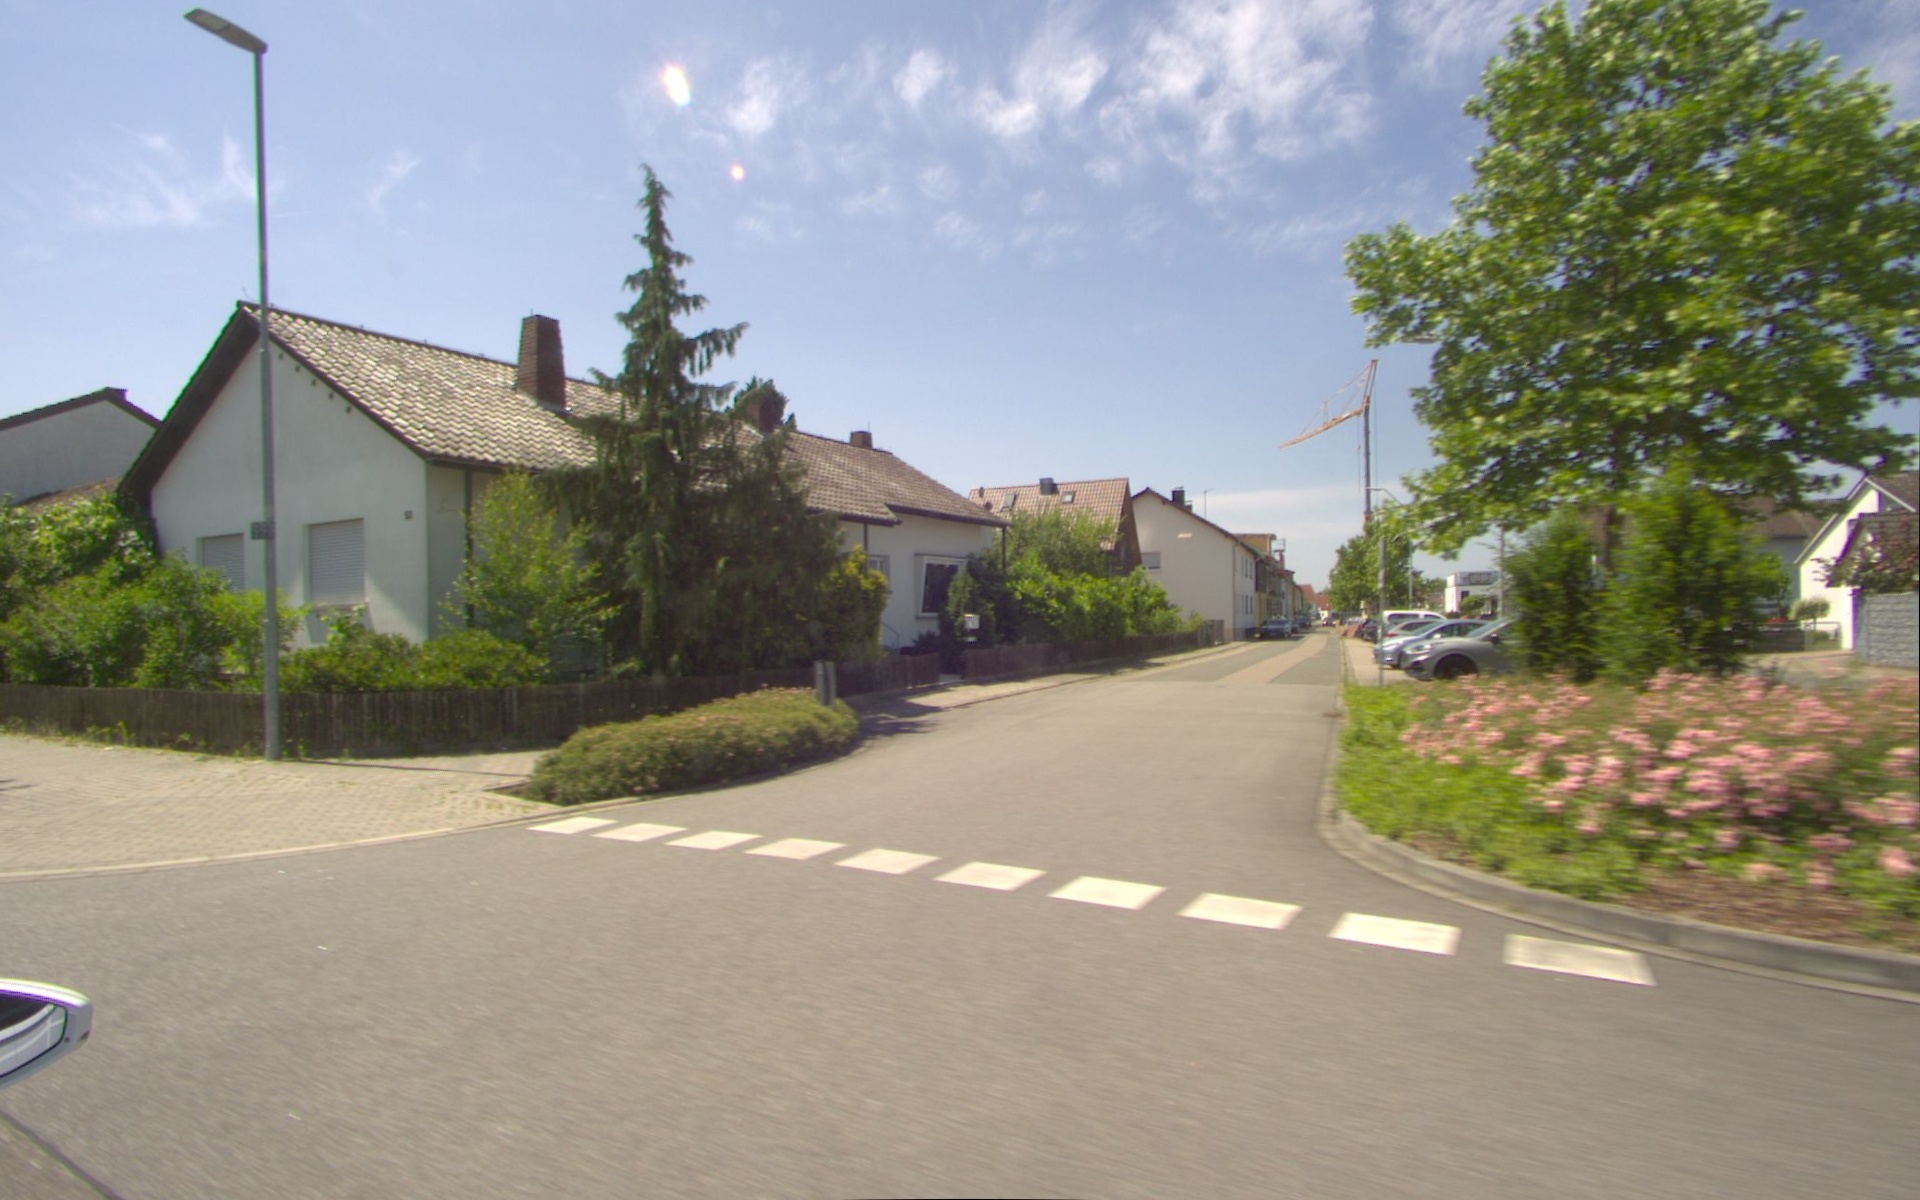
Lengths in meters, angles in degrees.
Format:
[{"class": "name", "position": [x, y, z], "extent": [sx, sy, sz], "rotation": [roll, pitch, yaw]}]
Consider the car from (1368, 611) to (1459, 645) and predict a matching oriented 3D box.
[{"class": "car", "position": [22.338, 1.386, 49.443], "extent": [3.930, 1.657, 1.756], "rotation": [-1, -1, 20]}]

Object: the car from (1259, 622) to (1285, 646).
[{"class": "car", "position": [22.831, 2.530, 73.351], "extent": [1.708, 1.471, 4.001], "rotation": [0, -5, 16]}]

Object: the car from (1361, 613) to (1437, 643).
[{"class": "car", "position": [25.348, 1.611, 57.954], "extent": [3.931, 1.658, 1.756], "rotation": [-1, 0, 20]}]

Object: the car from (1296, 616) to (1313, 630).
[{"class": "car", "position": [41.842, 2.840, 121.666], "extent": [1.728, 1.657, 3.995], "rotation": [-1, -1, 16]}]

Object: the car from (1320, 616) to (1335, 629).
[{"class": "car", "position": [52.584, 3.258, 143.254], "extent": [1.728, 1.655, 4.001], "rotation": [0, -5, 16]}]

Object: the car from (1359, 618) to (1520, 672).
[{"class": "car", "position": [13.811, 1.306, 29.055], "extent": [3.929, 1.488, 1.645], "rotation": [-1, -1, 12]}]

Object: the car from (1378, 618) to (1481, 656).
[{"class": "car", "position": [17.823, 1.435, 38.148], "extent": [3.445, 1.373, 1.512], "rotation": [-1, -3, 22]}]

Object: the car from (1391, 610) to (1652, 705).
[{"class": "car", "position": [11.188, 1.136, 20.315], "extent": [4.375, 1.764, 1.643], "rotation": [-1, -1, 21]}]

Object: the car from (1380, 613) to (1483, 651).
[{"class": "car", "position": [20.722, 1.396, 44.133], "extent": [3.930, 1.616, 1.756], "rotation": [-1, -1, 20]}]

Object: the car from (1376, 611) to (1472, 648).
[{"class": "car", "position": [21.768, 1.416, 47.104], "extent": [3.930, 1.718, 1.757], "rotation": [-1, -2, 20]}]

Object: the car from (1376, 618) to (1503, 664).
[{"class": "car", "position": [15.617, 1.327, 32.808], "extent": [3.629, 1.450, 1.642], "rotation": [-1, -1, 22]}]
